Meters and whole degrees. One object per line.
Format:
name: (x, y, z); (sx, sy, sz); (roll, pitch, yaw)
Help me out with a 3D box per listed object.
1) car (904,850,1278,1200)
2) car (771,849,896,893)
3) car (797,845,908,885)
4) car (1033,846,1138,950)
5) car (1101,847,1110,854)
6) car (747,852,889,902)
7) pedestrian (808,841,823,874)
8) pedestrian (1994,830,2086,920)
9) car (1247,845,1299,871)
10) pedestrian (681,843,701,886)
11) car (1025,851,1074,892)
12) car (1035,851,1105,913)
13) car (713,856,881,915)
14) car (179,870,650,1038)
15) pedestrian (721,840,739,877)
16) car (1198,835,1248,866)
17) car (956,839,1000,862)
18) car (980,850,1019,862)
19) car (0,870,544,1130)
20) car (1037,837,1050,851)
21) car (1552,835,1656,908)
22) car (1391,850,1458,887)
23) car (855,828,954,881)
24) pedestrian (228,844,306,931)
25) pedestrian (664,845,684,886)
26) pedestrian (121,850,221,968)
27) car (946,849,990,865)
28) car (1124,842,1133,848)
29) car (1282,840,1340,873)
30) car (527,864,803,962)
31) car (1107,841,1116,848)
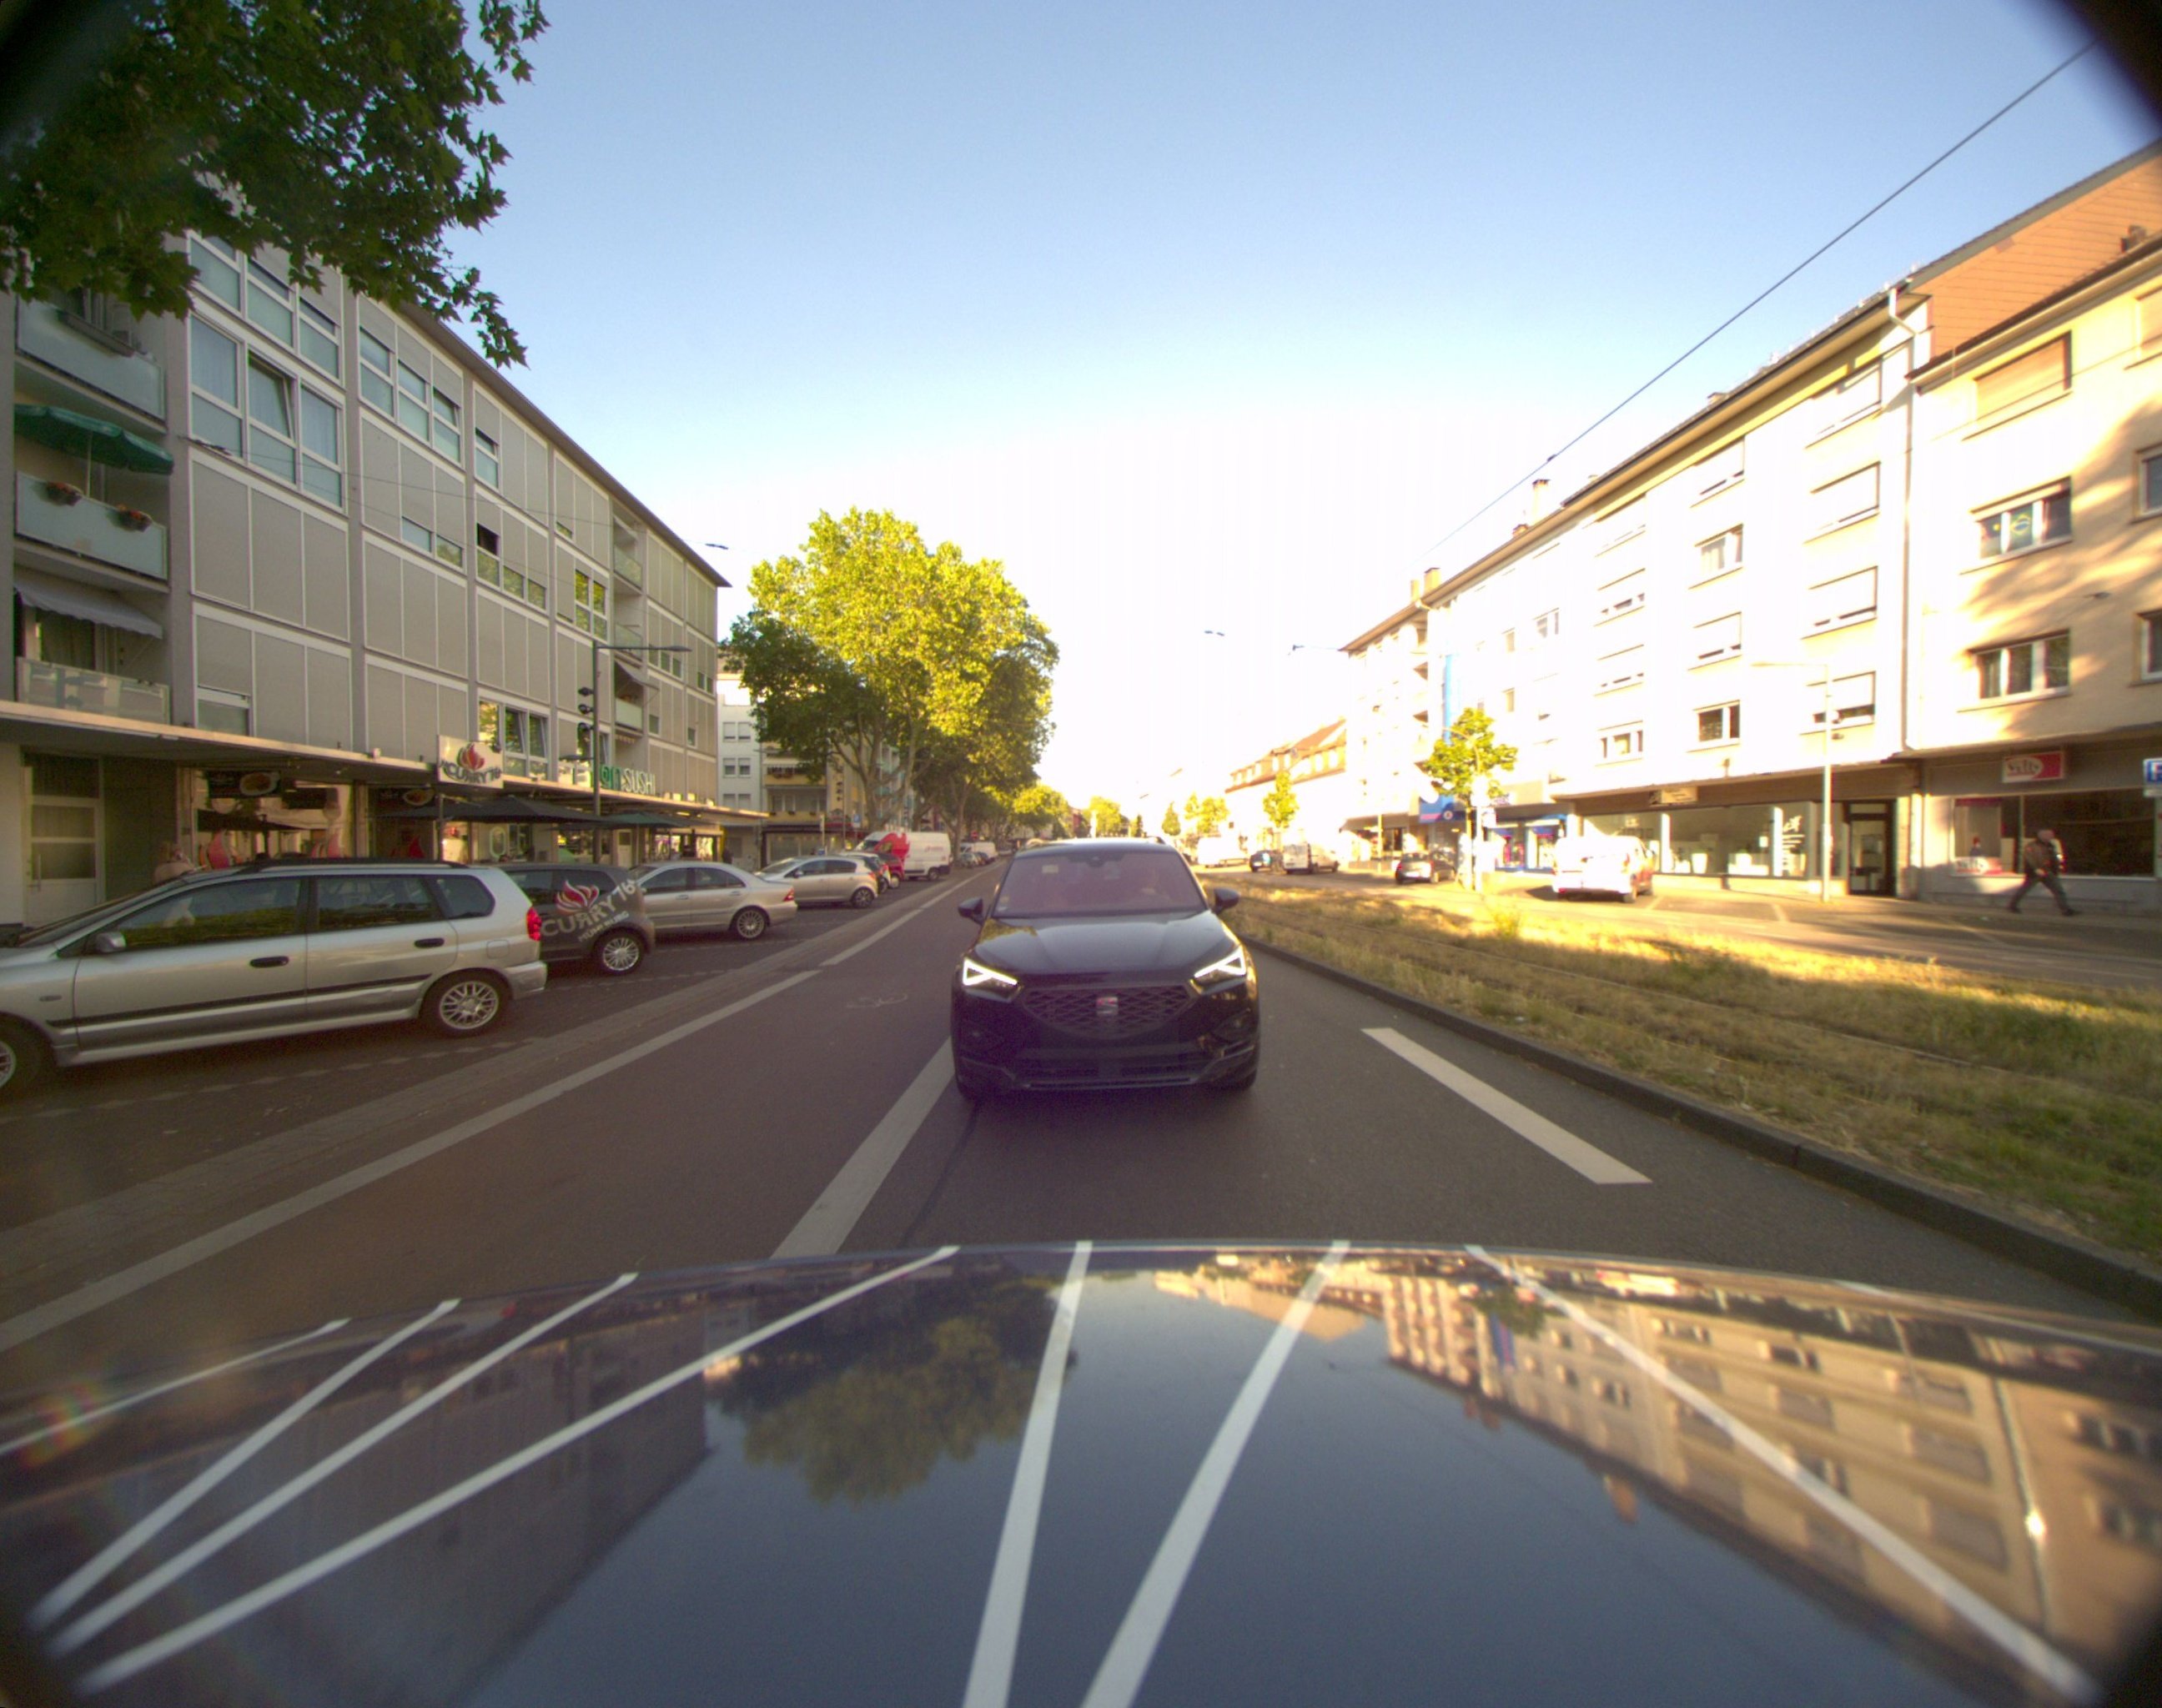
car: (0.077, 0.836, 5.750); (1.785, 1.639, 3.999); (-2, 1, 1)
car: (-8.880, 0.632, 27.330); (3.948, 1.421, 1.672); (2, 2, -32)
car: (-9.166, 0.449, 30.524); (3.948, 1.421, 1.672); (1, 2, -31)
car: (0.059, 0.701, 14.424); (1.646, 1.646, 3.999); (-2, 1, -1)
car: (5.191, -0.796, 161.863); (1.846, 1.571, 4.449); (0, 1, -1)
car: (-8.310, 0.720, 24.092); (3.949, 1.420, 1.672); (1, 1, -34)
pedestrian: (-15.954, 0.221, 45.655); (0.748, 1.964, 0.575); (0, 1, -4)
pedestrian: (19.913, 0.423, 15.804); (0.757, 1.817, 0.917); (-1, 1, 1)
car: (13.795, 0.239, 54.526); (3.922, 1.704, 1.853); (-2, 1, -45)
pedestrian: (-15.584, 0.428, 30.379); (0.545, 1.710, 0.457); (0, 1, -4)
car: (-1.188, 0.638, 30.150); (1.729, 1.443, 4.227); (-2, 1, -1)
car: (-0.291, 0.706, 21.298); (1.729, 1.467, 3.999); (-2, 1, -1)
car: (-7.575, 0.803, 20.507); (3.950, 1.420, 1.555); (1, 1, -45)
car: (-7.587, 0.958, 9.017); (1.672, 1.420, 3.950); (2, 1, 38)
pedestrian: (-19.251, 0.226, 41.663); (0.748, 2.002, 0.559); (0, 1, -4)
car: (12.940, -0.366, 68.665); (1.922, 2.599, 6.601); (-1, 1, 34)
car: (-11.554, -0.421, 85.136); (1.973, 2.454, 4.605); (1, 1, 44)
car: (-8.799, 0.209, 82.066); (1.778, 1.326, 3.943); (1, 1, 44)
car: (-6.883, 0.953, 6.008); (1.672, 1.533, 3.993); (2, 1, 38)
car: (-8.799, -2.367, 178.914); (2.660, 2.989, 7.131); (-2, 1, -2)
car: (15.598, 0.447, 22.580); (1.853, 1.888, 4.007); (-1, 2, 44)
car: (15.388, 0.605, 33.938); (1.731, 1.489, 4.008); (-1, 1, 40)
car: (-8.725, 0.030, 37.848); (4.606, 2.479, 1.672); (0, 0, -44)
pedestrian: (-15.144, 0.609, 14.156); (0.583, 1.573, 0.771); (0, 1, 2)
pedestrian: (-16.273, 0.454, 30.390); (0.537, 1.630, 0.478); (0, 1, -4)
pedestrian: (-12.484, 0.732, 10.442); (0.561, 1.567, 0.642); (0, 1, -5)
car: (-10.799, 0.275, 72.843); (1.778, 1.396, 3.943); (1, 1, 44)
car: (15.923, -3.098, 254.739); (2.496, 1.871, 5.278); (0, 1, 11)
car: (14.530, 0.107, 47.821); (1.853, 1.927, 4.513); (-1, 1, 40)
car: (-7.147, 0.916, 13.370); (1.592, 1.393, 3.950); (2, 1, 41)
car: (8.026, -2.461, 199.876); (1.999, 1.783, 3.998); (0, 1, -4)
